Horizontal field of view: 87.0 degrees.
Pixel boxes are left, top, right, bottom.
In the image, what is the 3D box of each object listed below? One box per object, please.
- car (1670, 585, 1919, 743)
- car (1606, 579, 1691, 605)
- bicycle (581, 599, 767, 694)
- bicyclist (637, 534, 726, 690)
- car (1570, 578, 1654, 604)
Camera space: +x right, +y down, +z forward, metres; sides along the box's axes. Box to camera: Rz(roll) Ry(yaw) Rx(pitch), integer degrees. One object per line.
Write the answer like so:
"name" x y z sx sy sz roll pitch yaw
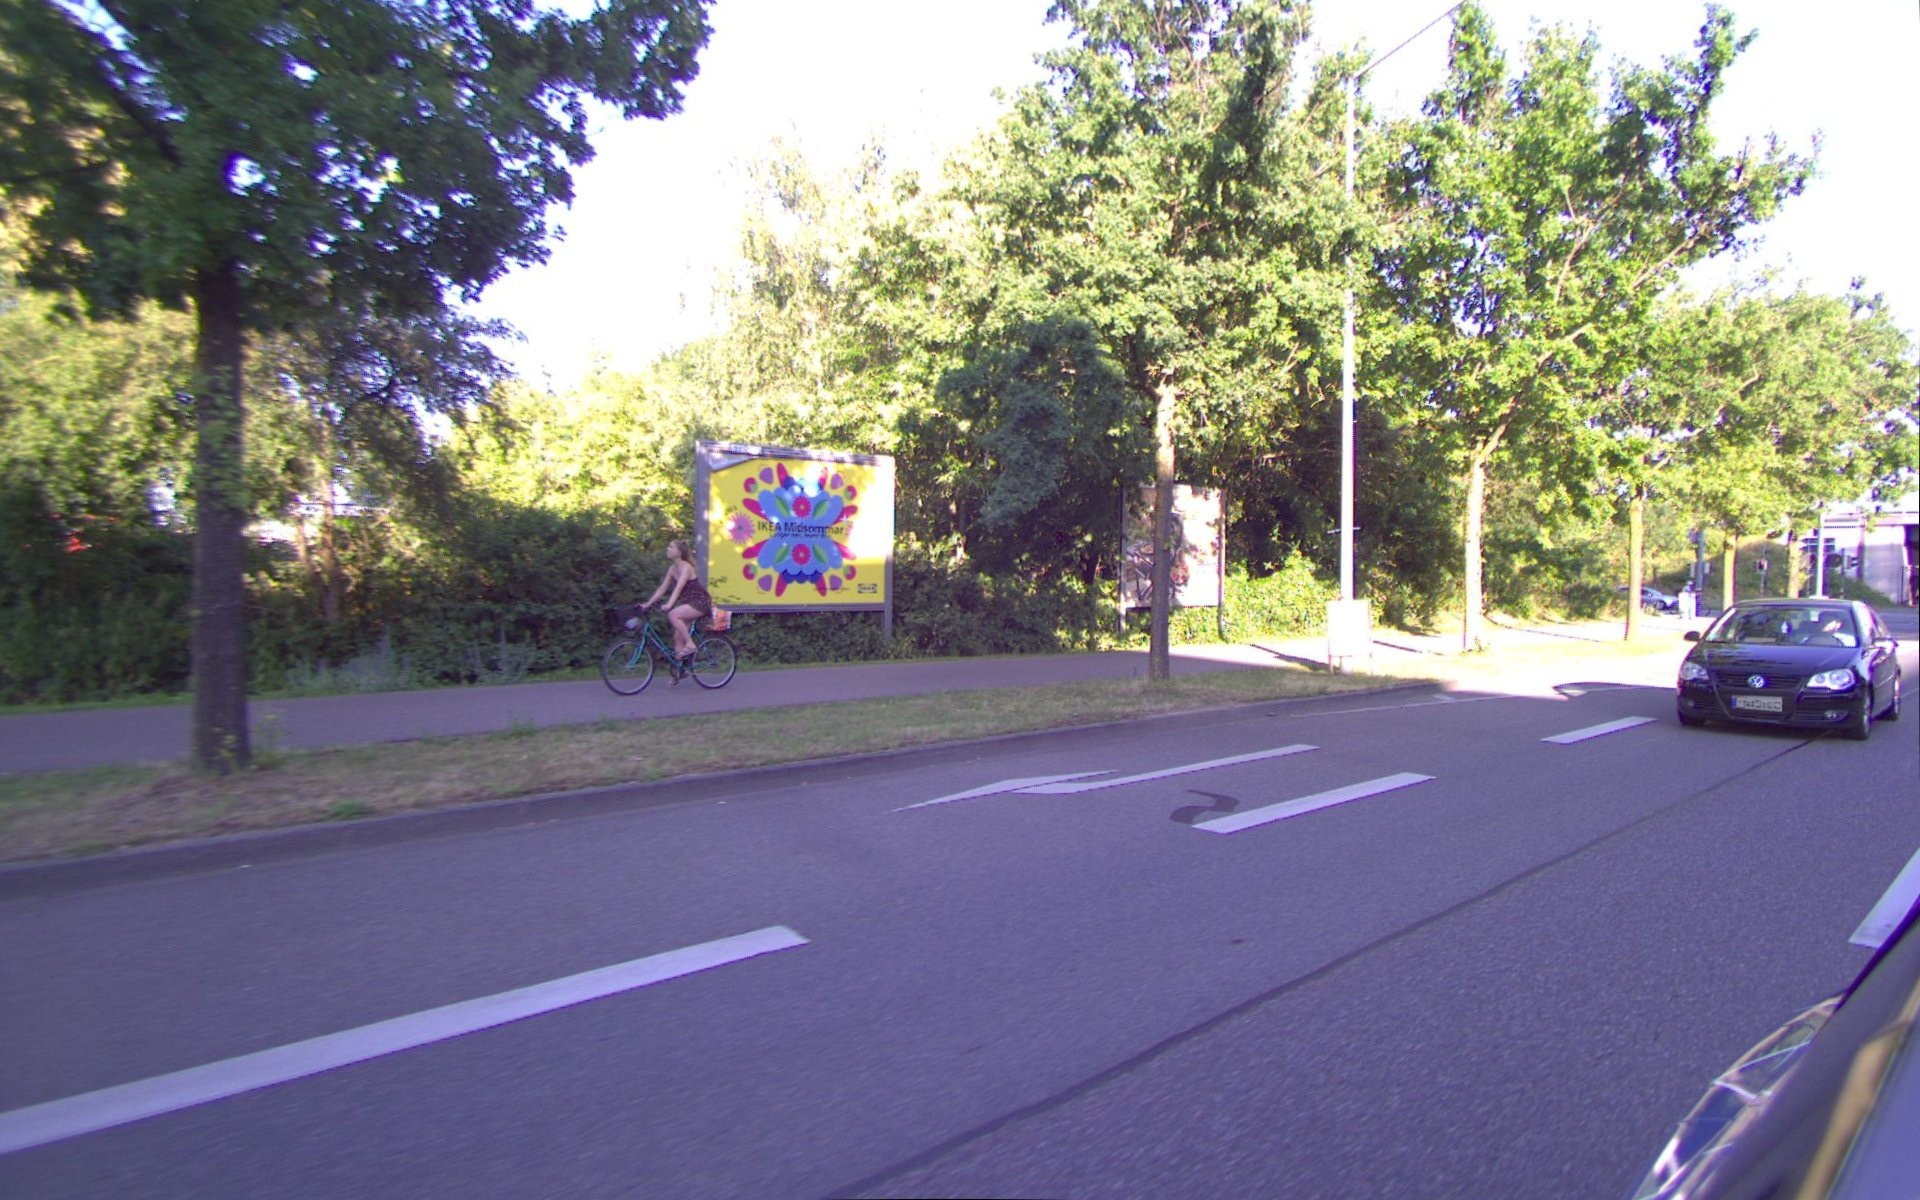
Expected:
"car" 9.832 0.597 11.740 4.141 1.518 1.724 0 0 -42
"car" 46.149 -0.565 67.888 1.895 1.537 4.290 0 3 -36
"bicycle" -3.312 0.503 11.840 2.021 0.986 0.618 -1 2 -39
"bicyclist" -3.262 0.120 11.861 0.833 1.755 0.605 0 1 -39
"car" 43.091 -0.620 66.972 1.895 1.537 4.290 0 3 -36
